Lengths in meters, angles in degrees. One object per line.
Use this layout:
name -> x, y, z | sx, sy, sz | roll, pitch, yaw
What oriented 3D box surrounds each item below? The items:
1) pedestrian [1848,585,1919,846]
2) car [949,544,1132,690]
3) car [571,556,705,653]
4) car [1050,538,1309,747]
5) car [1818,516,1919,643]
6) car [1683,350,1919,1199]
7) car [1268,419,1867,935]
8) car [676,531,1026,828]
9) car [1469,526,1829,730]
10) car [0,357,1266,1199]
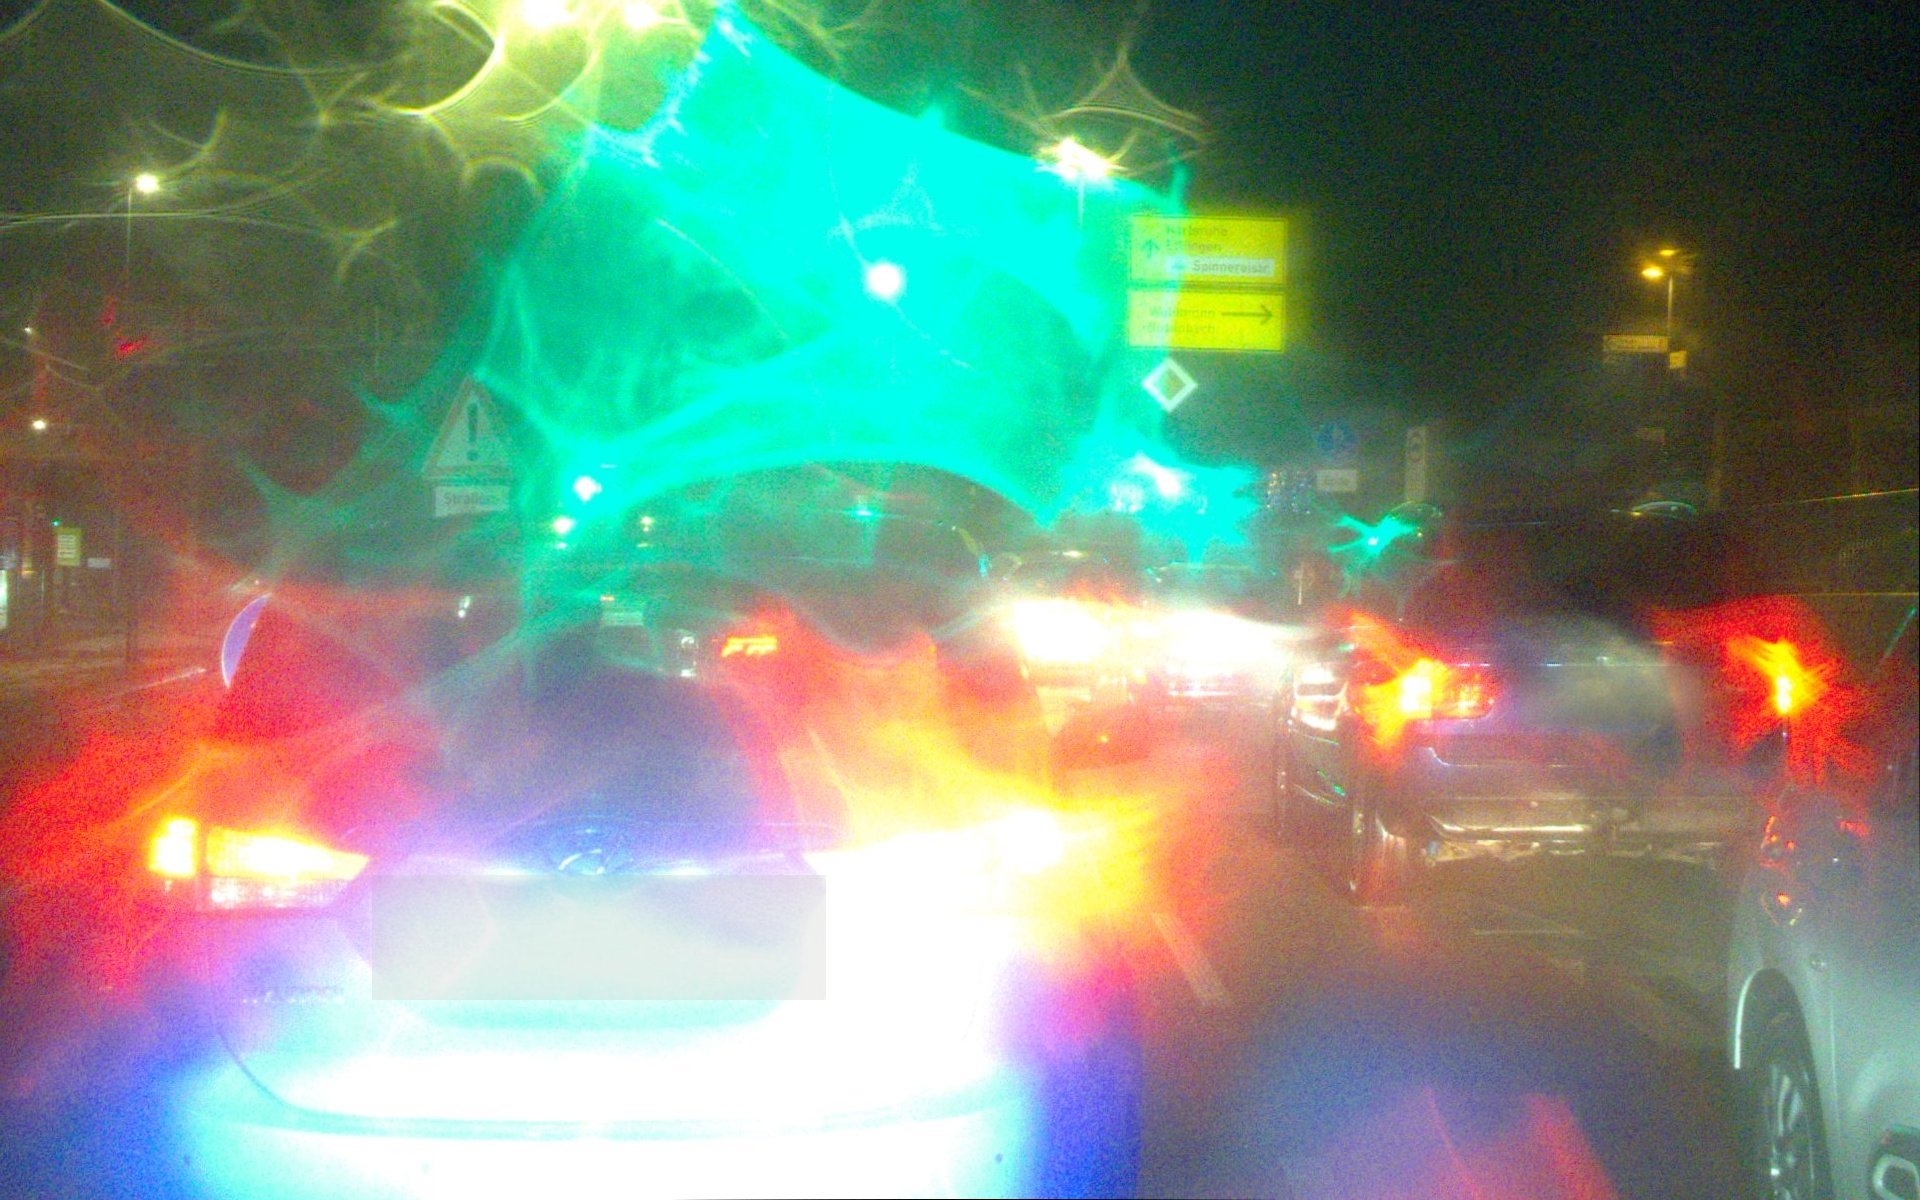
pedestrian -> 6.274, 0.755, 22.724 | 0.622, 1.696, 0.541 | 1, 0, -3
car -> 0.933, 0.182, 42.008 | 1.993, 1.664, 4.000 | 1, 0, -2
car -> -6.377, 0.068, 67.696 | 1.993, 1.818, 4.001 | 1, 0, -14
car -> 1.889, 0.339, 30.762 | 1.993, 1.712, 4.000 | 1, 0, -1
car -> 12.366, -0.213, 39.898 | 4.334, 1.455, 1.849 | 1, 0, 28
car -> 2.475, 0.544, 5.021 | 1.851, 1.858, 4.341 | 1, 0, -1
car -> 2.616, 0.292, 15.797 | 1.968, 2.040, 4.000 | 1, 0, -1
car -> -0.652, 0.443, 21.827 | 1.993, 1.678, 4.000 | 1, 0, -1
car -> 5.239, 0.153, 26.672 | 1.784, 1.437, 4.238 | -1, 1, -2
car -> -0.596, 0.488, 7.377 | 2.014, 1.711, 4.452 | 1, 0, -1
